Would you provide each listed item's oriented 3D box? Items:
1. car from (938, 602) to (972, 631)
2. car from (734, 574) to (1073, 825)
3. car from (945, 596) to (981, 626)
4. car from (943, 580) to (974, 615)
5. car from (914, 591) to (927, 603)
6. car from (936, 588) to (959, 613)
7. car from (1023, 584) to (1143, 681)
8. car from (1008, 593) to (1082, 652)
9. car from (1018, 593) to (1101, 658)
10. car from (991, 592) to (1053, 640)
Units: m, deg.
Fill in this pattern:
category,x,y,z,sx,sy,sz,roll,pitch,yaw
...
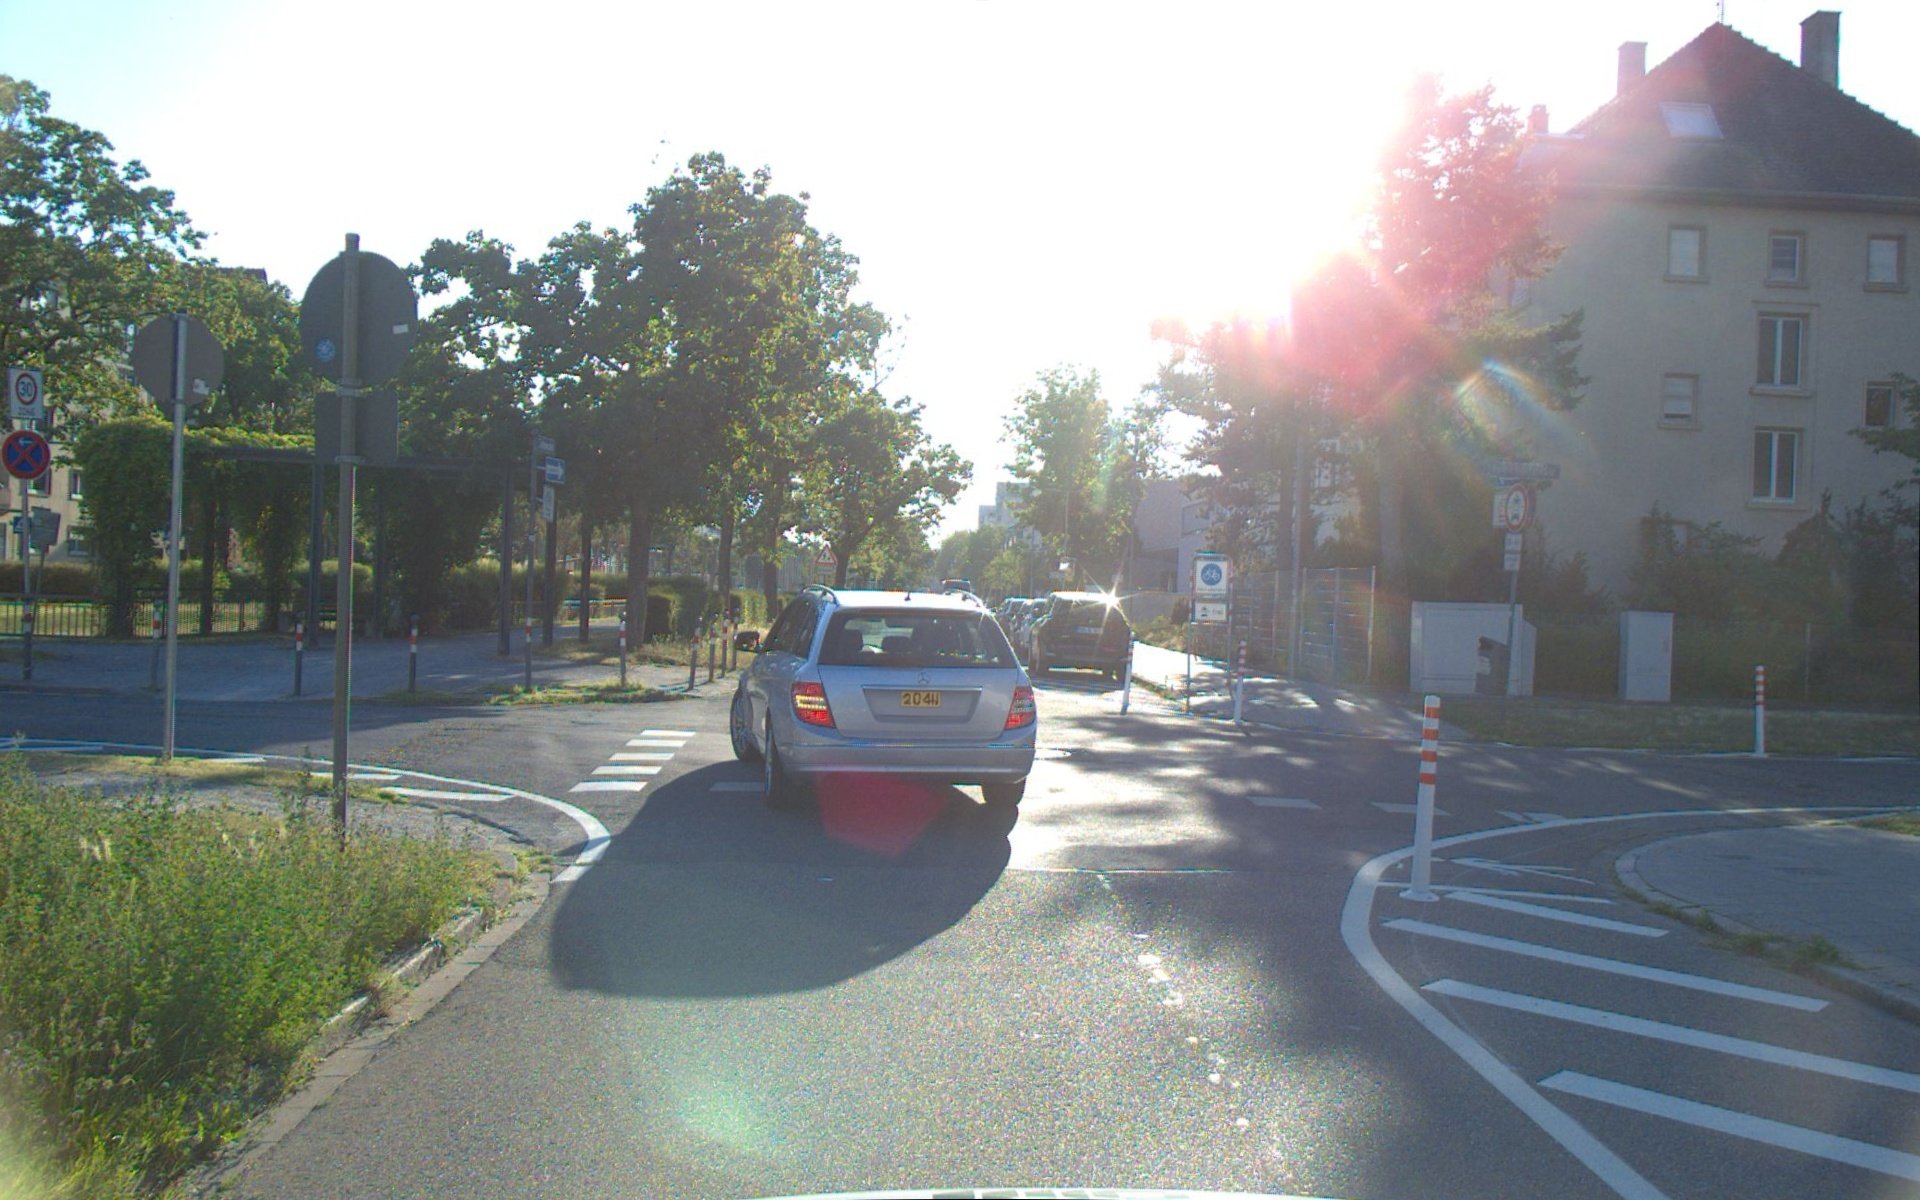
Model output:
category,x,y,z,sx,sy,sz,roll,pitch,yaw
car,-0.296,0.913,94.459,1.695,1.544,3.757,2,0,-4
car,-0.604,0.595,12.126,1.785,1.498,4.204,1,0,-12
car,0.138,0.568,90.573,1.722,1.544,3.757,2,0,-4
car,-0.109,-0.147,108.457,1.953,2.160,3.999,2,0,-1
car,-5.719,-0.417,238.009,1.828,1.646,3.998,2,0,-2
car,-1.109,0.018,147.606,1.953,2.160,3.999,2,0,-1
car,2.371,0.597,32.904,1.781,1.670,4.214,4,0,-3
car,2.354,0.604,46.739,1.695,1.544,3.758,2,0,-2
car,2.468,0.622,41.833,1.729,1.552,3.771,1,0,-2
car,2.076,0.516,56.141,1.730,1.552,3.770,1,0,-4
